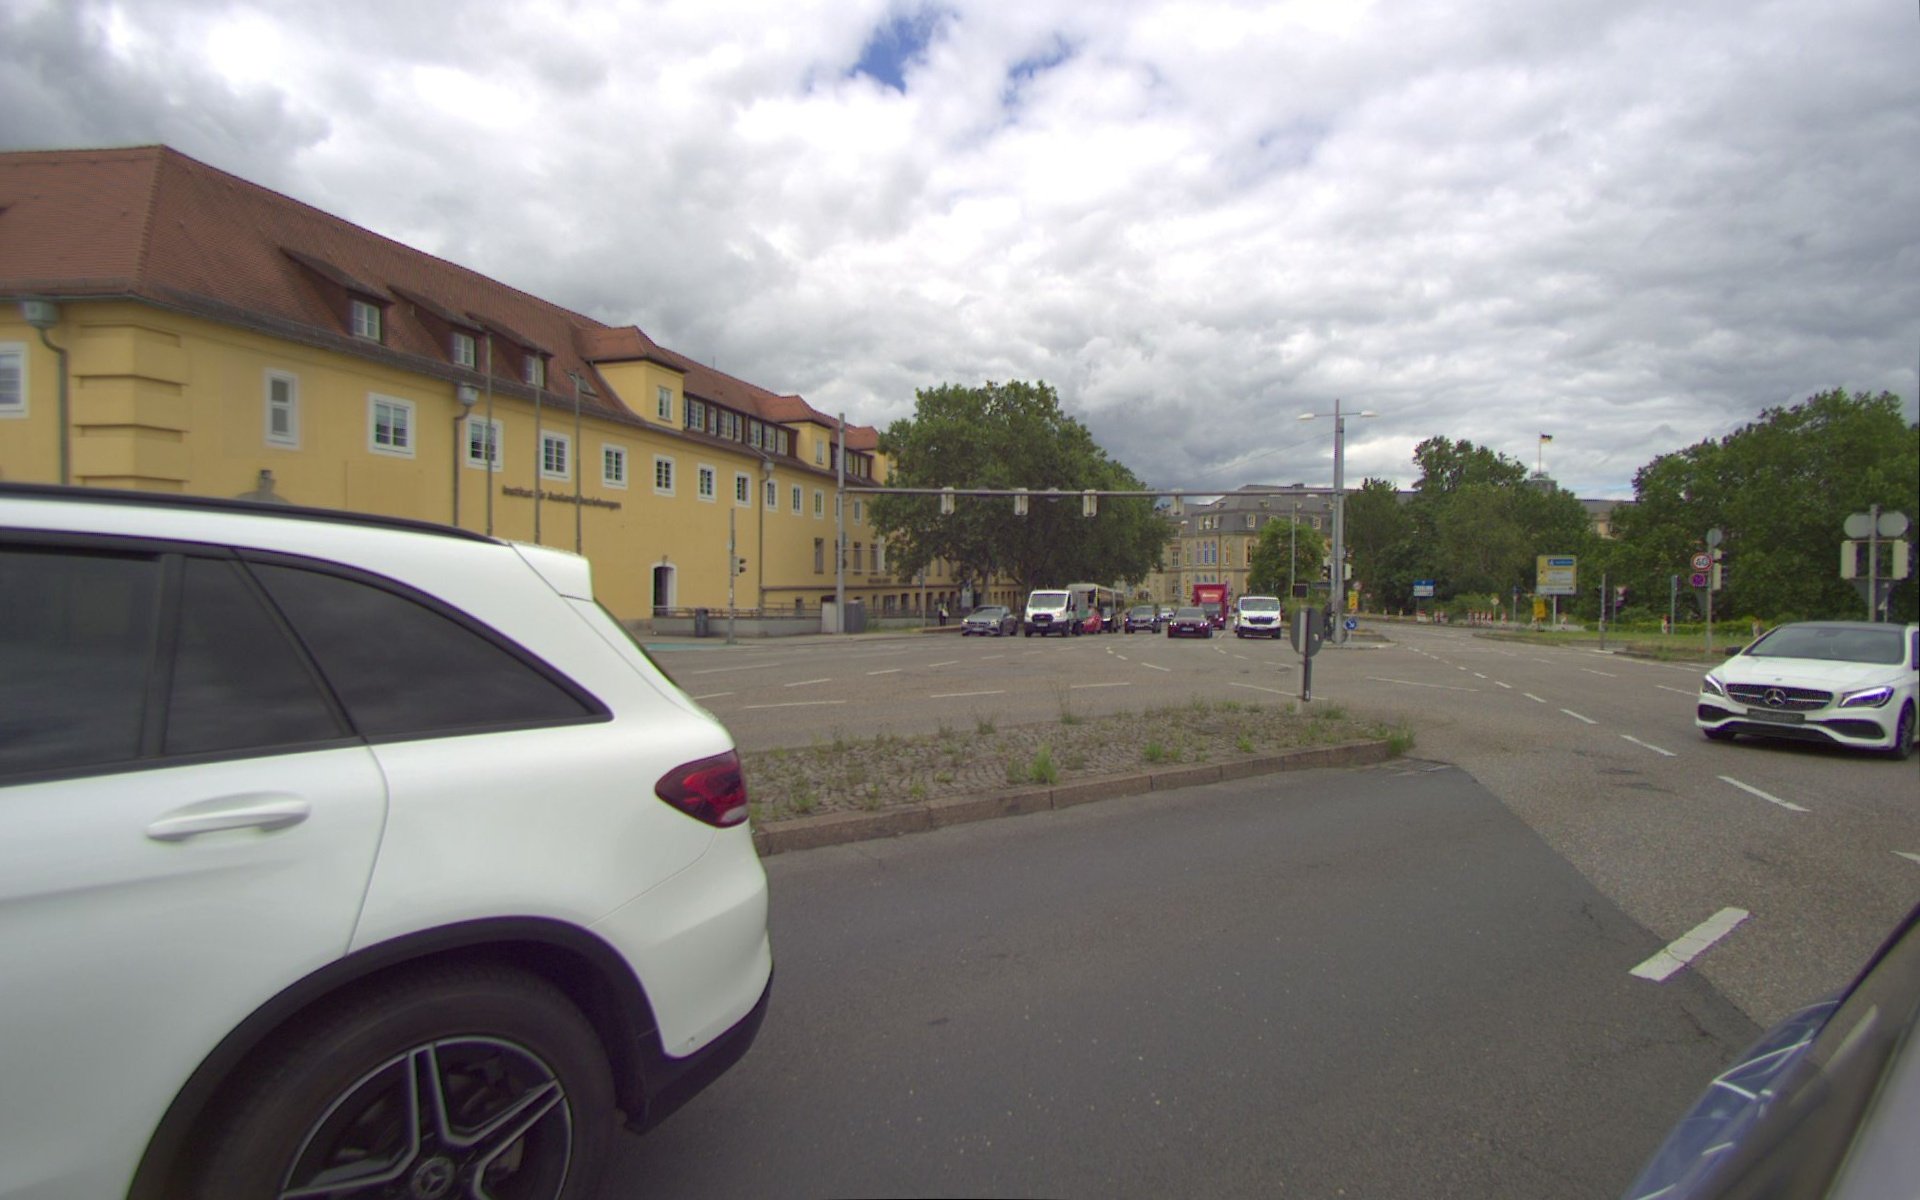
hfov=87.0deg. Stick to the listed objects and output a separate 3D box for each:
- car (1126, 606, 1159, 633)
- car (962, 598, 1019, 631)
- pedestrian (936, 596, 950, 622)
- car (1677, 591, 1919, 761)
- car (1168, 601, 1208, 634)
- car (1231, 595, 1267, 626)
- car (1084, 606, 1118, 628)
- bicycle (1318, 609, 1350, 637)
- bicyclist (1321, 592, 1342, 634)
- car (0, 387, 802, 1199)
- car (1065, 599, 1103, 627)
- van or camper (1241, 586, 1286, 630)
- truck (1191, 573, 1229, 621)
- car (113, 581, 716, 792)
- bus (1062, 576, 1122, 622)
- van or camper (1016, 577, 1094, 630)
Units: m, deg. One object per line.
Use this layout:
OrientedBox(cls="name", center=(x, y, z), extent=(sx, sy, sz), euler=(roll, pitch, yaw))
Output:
OrientedBox(cls="car", center=(10.644, 1.104, 58.750), extent=(1.582, 1.395, 3.982), euler=(1, 1, 14))
OrientedBox(cls="car", center=(1.480, 0.653, 47.482), extent=(1.803, 1.426, 3.981), euler=(1, 1, 15))
OrientedBox(cls="pedestrian", center=(-0.945, 0.488, 56.023), extent=(0.671, 1.397, 0.576), euler=(1, 0, 14))
OrientedBox(cls="car", center=(10.396, 0.738, 11.755), extent=(4.562, 1.589, 1.872), euler=(0, 1, -34))
OrientedBox(cls="car", center=(10.613, 0.768, 47.109), extent=(1.715, 1.417, 3.696), euler=(1, 1, 14))
OrientedBox(cls="car", center=(17.342, 0.608, 60.877), extent=(1.972, 1.776, 3.941), euler=(1, 1, 16))
OrientedBox(cls="car", center=(8.591, 1.018, 61.387), extent=(1.601, 1.251, 3.222), euler=(1, 1, 16))
OrientedBox(cls="bicycle", center=(14.800, 0.900, 40.058), extent=(1.700, 1.086, 0.504), euler=(0, 0, -44))
OrientedBox(cls="bicyclist", center=(14.671, 0.510, 39.937), extent=(0.710, 1.660, 0.504), euler=(1, 0, -44))
OrientedBox(cls="car", center=(-2.558, 0.509, 1.563), extent=(4.258, 1.667, 1.805), euler=(1, 1, -41))
OrientedBox(cls="car", center=(6.638, 0.668, 54.013), extent=(1.592, 1.372, 3.469), euler=(1, 1, 14))
OrientedBox(cls="van or camper", center=(14.116, 0.335, 47.225), extent=(1.840, 1.940, 4.691), euler=(1, 1, 15))
OrientedBox(cls="truck", center=(19.858, -0.247, 80.093), extent=(2.752, 3.534, 8.311), euler=(1, 1, 15))
OrientedBox(cls="car", center=(-4.159, 0.538, 8.105), extent=(3.987, 1.280, 1.673), euler=(1, 0, -41))
OrientedBox(cls="bus", center=(10.571, -0.148, 79.592), extent=(3.384, 3.244, 13.010), euler=(1, 1, 13))
OrientedBox(cls="van or camper", center=(4.583, 0.129, 47.704), extent=(2.344, 2.291, 6.250), euler=(1, 1, 18))
